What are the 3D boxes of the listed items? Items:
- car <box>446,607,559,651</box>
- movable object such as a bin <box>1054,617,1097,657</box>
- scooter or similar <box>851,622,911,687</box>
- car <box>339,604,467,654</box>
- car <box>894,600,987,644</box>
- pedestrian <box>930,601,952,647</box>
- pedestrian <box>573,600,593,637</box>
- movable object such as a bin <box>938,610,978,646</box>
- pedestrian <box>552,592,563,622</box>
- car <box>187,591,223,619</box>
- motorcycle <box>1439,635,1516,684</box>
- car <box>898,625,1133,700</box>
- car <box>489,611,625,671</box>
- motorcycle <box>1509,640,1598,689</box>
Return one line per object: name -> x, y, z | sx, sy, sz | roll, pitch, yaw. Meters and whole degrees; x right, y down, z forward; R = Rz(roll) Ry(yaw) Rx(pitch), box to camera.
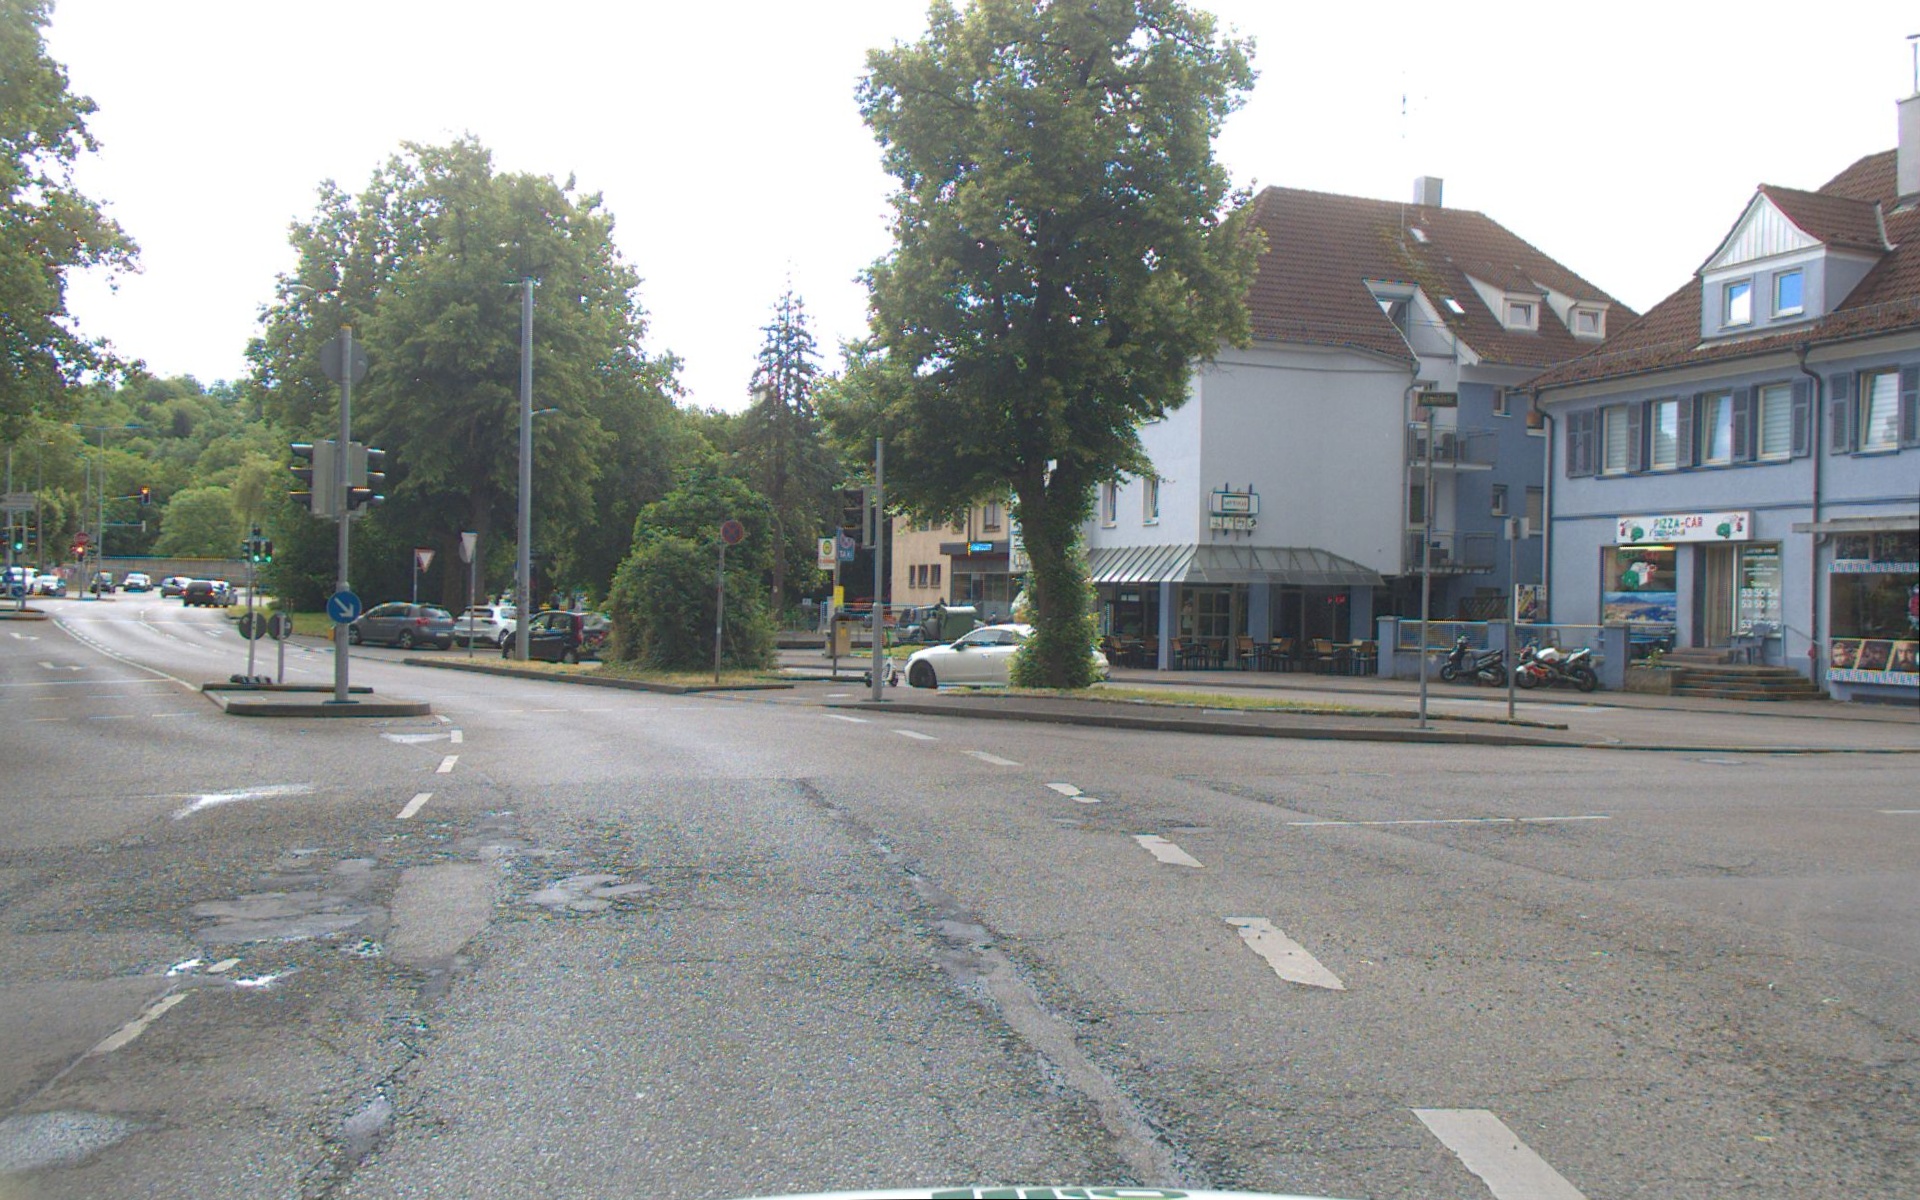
car -> -15.795, 0.976, 57.316 | 1.722, 1.405, 4.264 | 1, 0, 17
movable object such as a bin -> 4.112, 1.312, 58.855 | 1.194, 1.420, 1.156 | 0, -1, -16
scooter or similar -> -1.501, 1.051, 31.625 | 0.403, 1.187, 1.359 | 0, -3, 31
car -> -18.410, 0.945, 54.634 | 4.023, 1.454, 1.730 | 2, 1, 30
car -> -0.769, 0.851, 64.768 | 3.362, 1.659, 1.615 | 0, -1, -20
pedestrian -> -0.730, 0.916, 63.802 | 0.678, 1.760, 0.606 | 0, -1, -26
pedestrian -> -16.124, 0.799, 70.696 | 0.675, 1.578, 0.736 | 1, 0, -26
movable object such as a bin -> -0.078, 1.056, 62.859 | 1.201, 1.368, 0.987 | 0, -1, -26
pedestrian -> -21.285, 0.351, 87.380 | 0.502, 1.558, 0.774 | 1, -1, -17
car -> -42.953, 0.289, 94.116 | 1.799, 1.536, 4.538 | 1, 0, -25
motorcycle -> 11.791, 1.350, 37.717 | 0.485, 1.049, 1.699 | 1, -1, -41
car -> 1.099, 1.253, 34.398 | 4.699, 1.411, 1.989 | 0, -1, 40
car -> -10.569, 1.035, 43.334 | 3.422, 1.429, 1.568 | 1, 0, 34
motorcycle -> 12.845, 1.380, 35.823 | 0.517, 1.003, 1.795 | 1, -1, -41
